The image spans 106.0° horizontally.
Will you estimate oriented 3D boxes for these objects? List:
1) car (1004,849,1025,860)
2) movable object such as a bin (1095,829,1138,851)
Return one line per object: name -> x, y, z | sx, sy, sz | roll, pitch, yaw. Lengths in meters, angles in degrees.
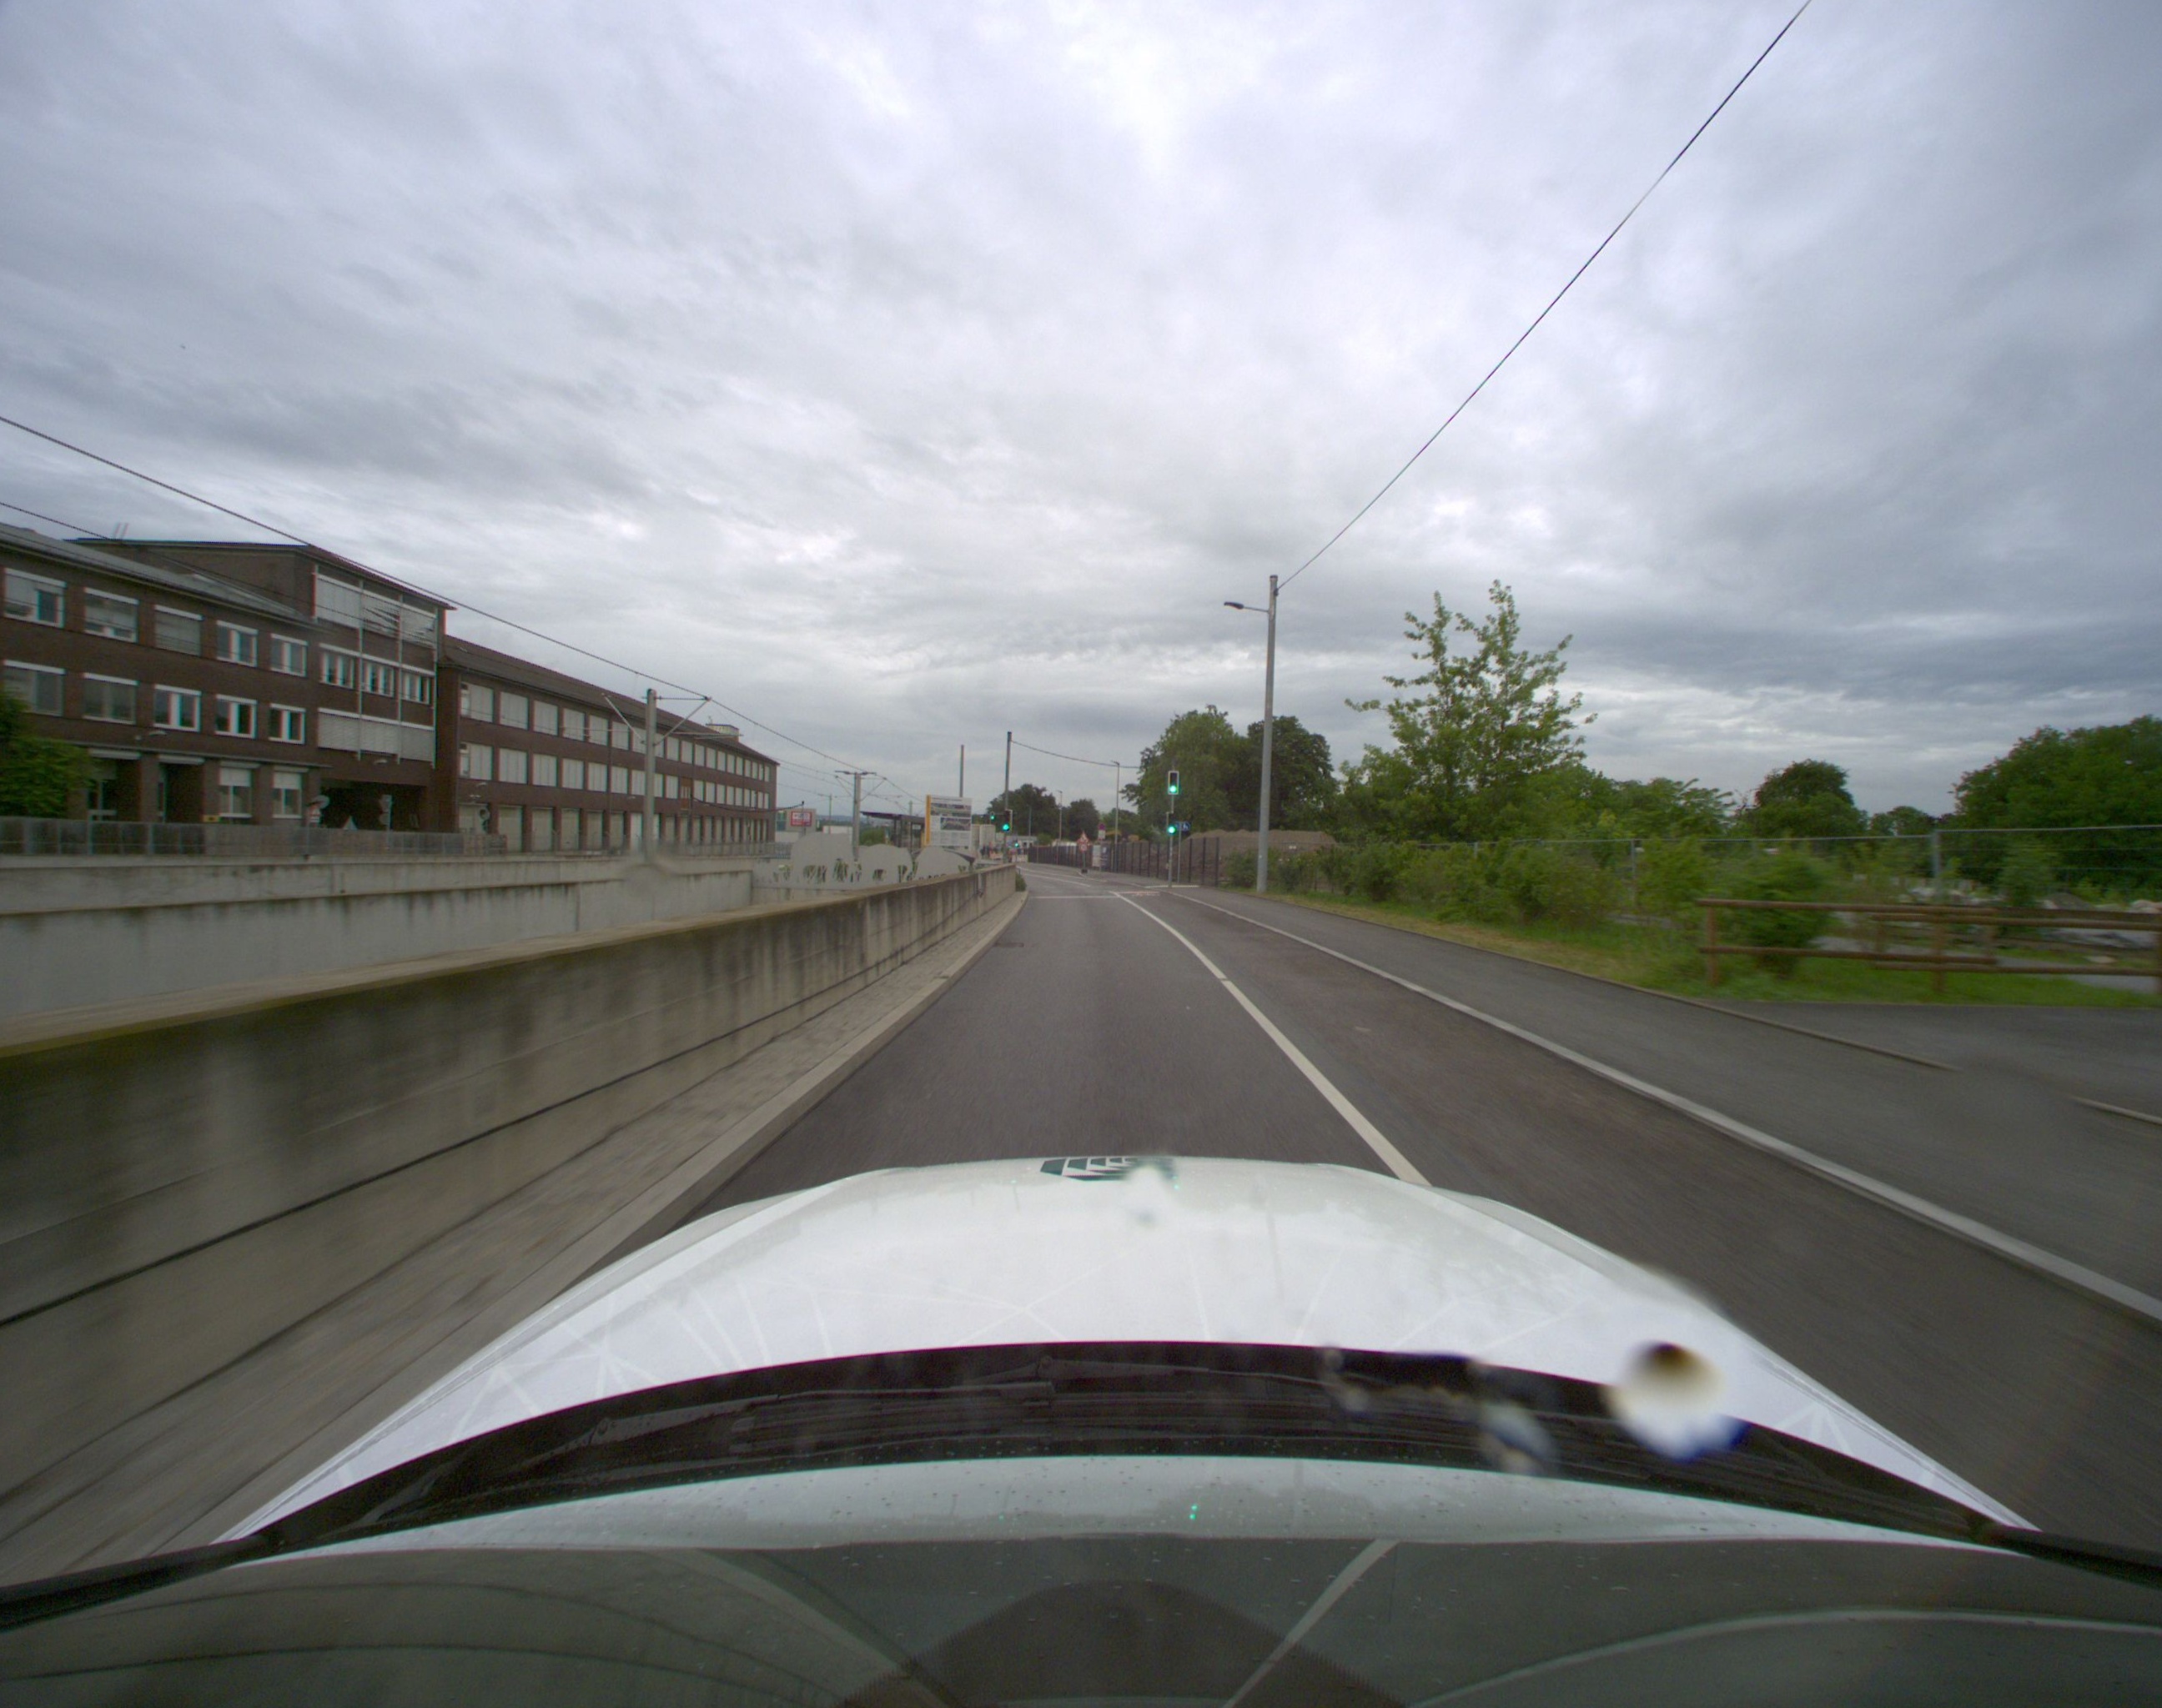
car -> -11.188, 0.037, 136.559 | 1.804, 1.794, 4.431 | 1, 0, 20
movable object such as a bin -> 9.539, -3.749, 218.433 | 11.206, 5.995, 3.487 | 0, -1, -3
